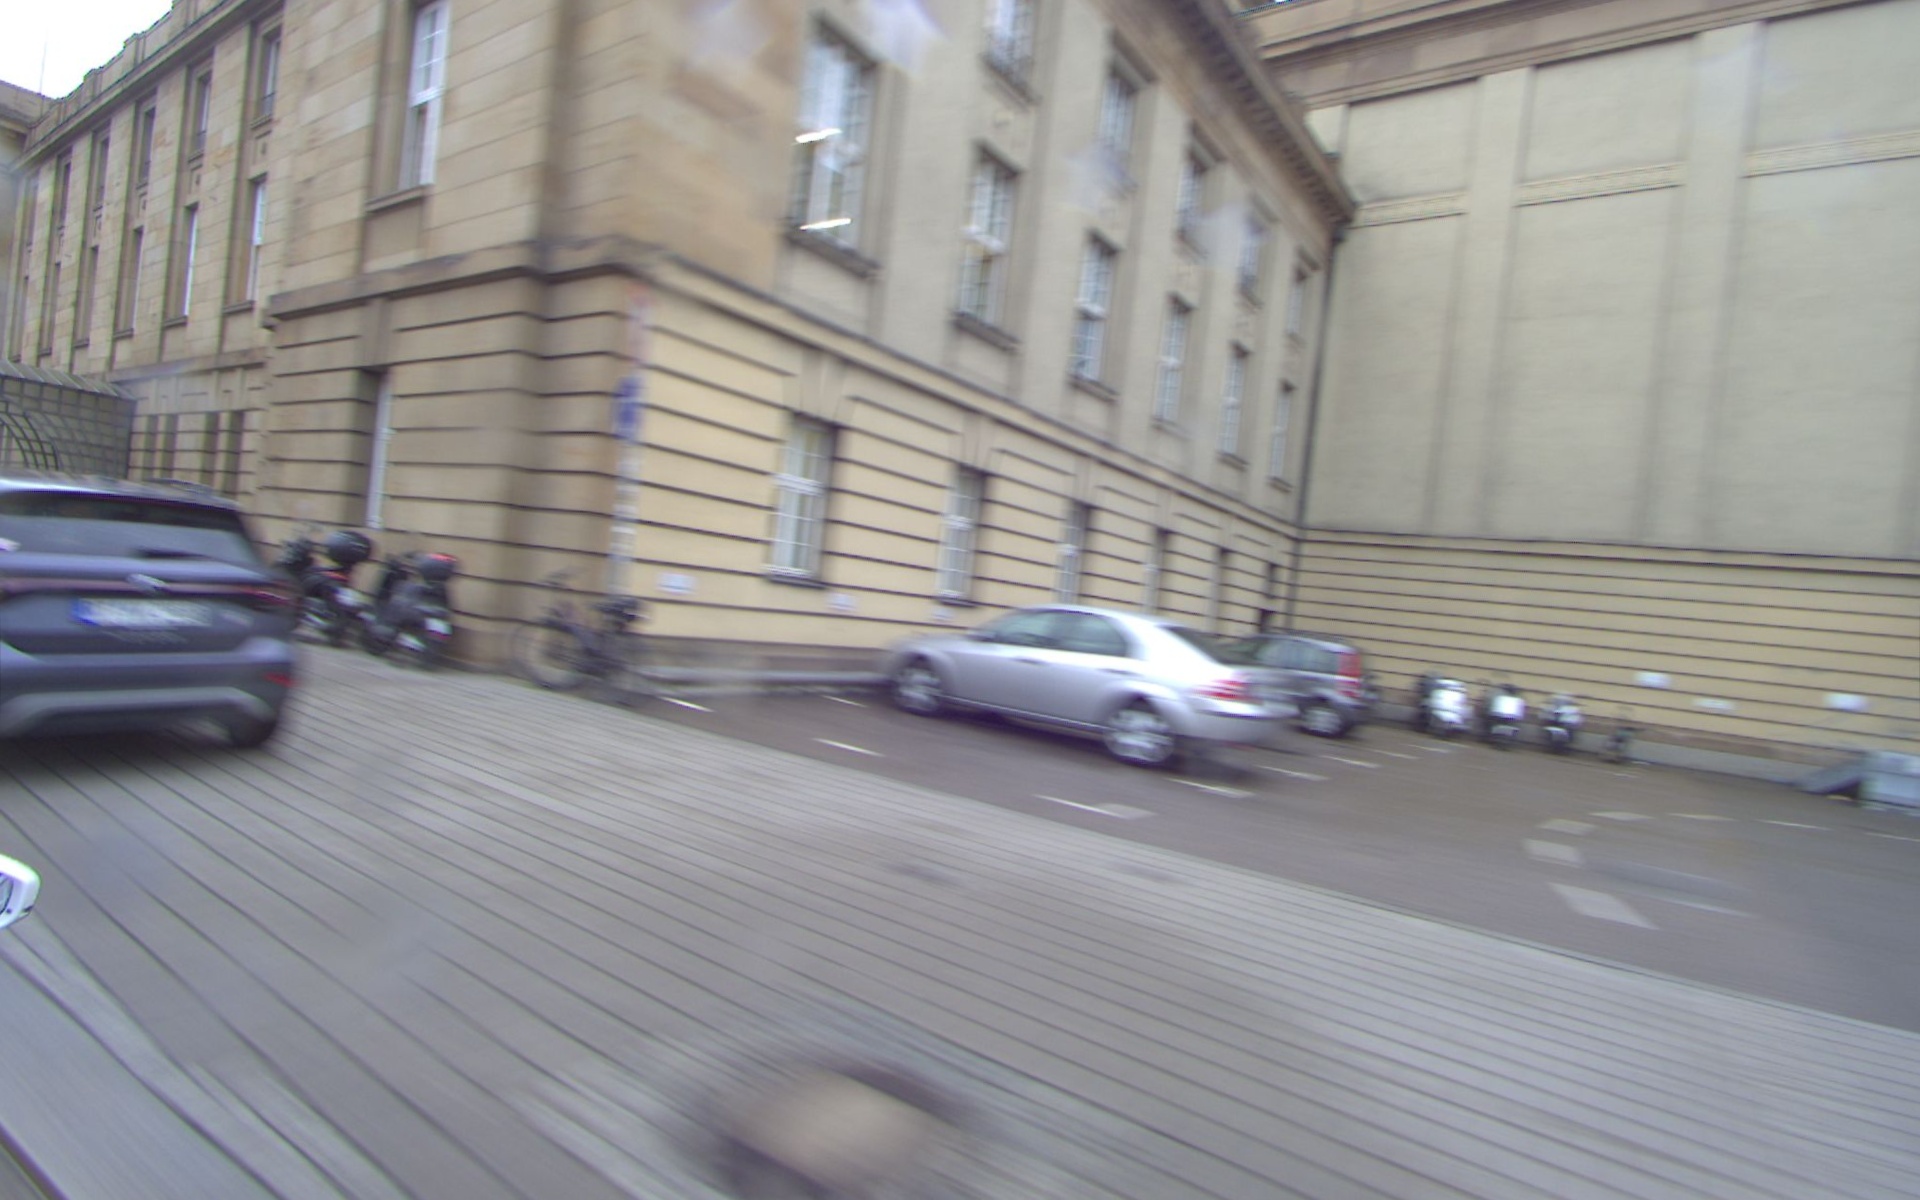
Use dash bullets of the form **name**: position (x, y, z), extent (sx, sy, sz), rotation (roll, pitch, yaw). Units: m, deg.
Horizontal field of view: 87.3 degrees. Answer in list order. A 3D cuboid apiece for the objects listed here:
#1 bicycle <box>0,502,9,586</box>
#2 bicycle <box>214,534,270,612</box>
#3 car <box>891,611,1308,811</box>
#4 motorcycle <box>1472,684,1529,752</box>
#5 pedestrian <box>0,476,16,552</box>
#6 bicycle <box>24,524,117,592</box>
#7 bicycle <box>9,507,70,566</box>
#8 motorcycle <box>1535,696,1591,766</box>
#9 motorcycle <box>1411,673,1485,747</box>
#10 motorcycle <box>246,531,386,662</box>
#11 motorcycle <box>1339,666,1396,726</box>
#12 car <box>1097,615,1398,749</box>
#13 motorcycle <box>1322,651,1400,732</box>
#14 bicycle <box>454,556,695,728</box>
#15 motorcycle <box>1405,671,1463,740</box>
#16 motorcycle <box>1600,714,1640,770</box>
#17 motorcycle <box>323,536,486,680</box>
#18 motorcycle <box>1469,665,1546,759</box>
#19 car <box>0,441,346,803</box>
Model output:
- **bicycle**: position (-15.172, -0.924, 14.961), extent (1.930, 1.234, 0.777), rotation (6, 1, 25)
- **bicycle**: position (-10.813, -0.426, 15.135), extent (0.417, 1.062, 1.751), rotation (7, -1, -41)
- **car**: position (1.382, 1.058, 10.754), extent (4.063, 1.428, 1.521), rotation (6, -1, 35)
- **motorcycle**: position (12.409, 2.677, 23.082), extent (0.724, 1.424, 1.659), rotation (6, 1, 39)
- **pedestrian**: position (-23.496, -2.116, 24.335), extent (0.632, 1.801, 0.794), rotation (6, 3, 35)
- **bicycle**: position (-16.343, -0.772, 18.481), extent (1.711, 1.064, 0.713), rotation (6, -1, 31)
- **bicycle**: position (-18.606, -1.299, 20.320), extent (1.733, 1.050, 0.583), rotation (6, -1, 39)
- **motorcycle**: position (13.308, 2.865, 22.181), extent (0.724, 1.384, 1.659), rotation (6, 1, 39)
- **motorcycle**: position (9.528, 2.155, 19.593), extent (0.837, 1.210, 1.974), rotation (7, -4, 37)
- **motorcycle**: position (-7.649, -0.068, 11.902), extent (2.104, 1.342, 0.666), rotation (6, -1, 39)
- **motorcycle**: position (10.048, 2.357, 24.770), extent (0.724, 1.355, 1.659), rotation (6, 1, 39)
- **car**: position (4.801, 1.311, 17.112), extent (4.438, 1.559, 1.818), rotation (7, 1, 36)
- **motorcycle**: position (8.239, 1.857, 20.632), extent (0.873, 1.491, 1.970), rotation (6, 0, 37)
- **bicycle**: position (-3.588, 0.376, 9.356), extent (1.828, 1.333, 1.103), rotation (6, -1, 32)
- **motorcycle**: position (11.238, 2.472, 23.820), extent (0.724, 1.492, 1.659), rotation (6, 1, 39)
- **motorcycle**: position (14.391, 3.084, 21.933), extent (0.473, 1.083, 1.659), rotation (7, 0, 39)
- **motorcycle**: position (-5.883, 0.067, 10.619), extent (1.773, 1.314, 0.806), rotation (6, -1, 39)
- **motorcycle**: position (10.340, 2.102, 18.945), extent (0.837, 1.563, 1.972), rotation (8, 0, 37)
- **car**: position (-5.830, -0.069, 6.161), extent (4.335, 1.639, 1.871), rotation (7, 1, 35)
